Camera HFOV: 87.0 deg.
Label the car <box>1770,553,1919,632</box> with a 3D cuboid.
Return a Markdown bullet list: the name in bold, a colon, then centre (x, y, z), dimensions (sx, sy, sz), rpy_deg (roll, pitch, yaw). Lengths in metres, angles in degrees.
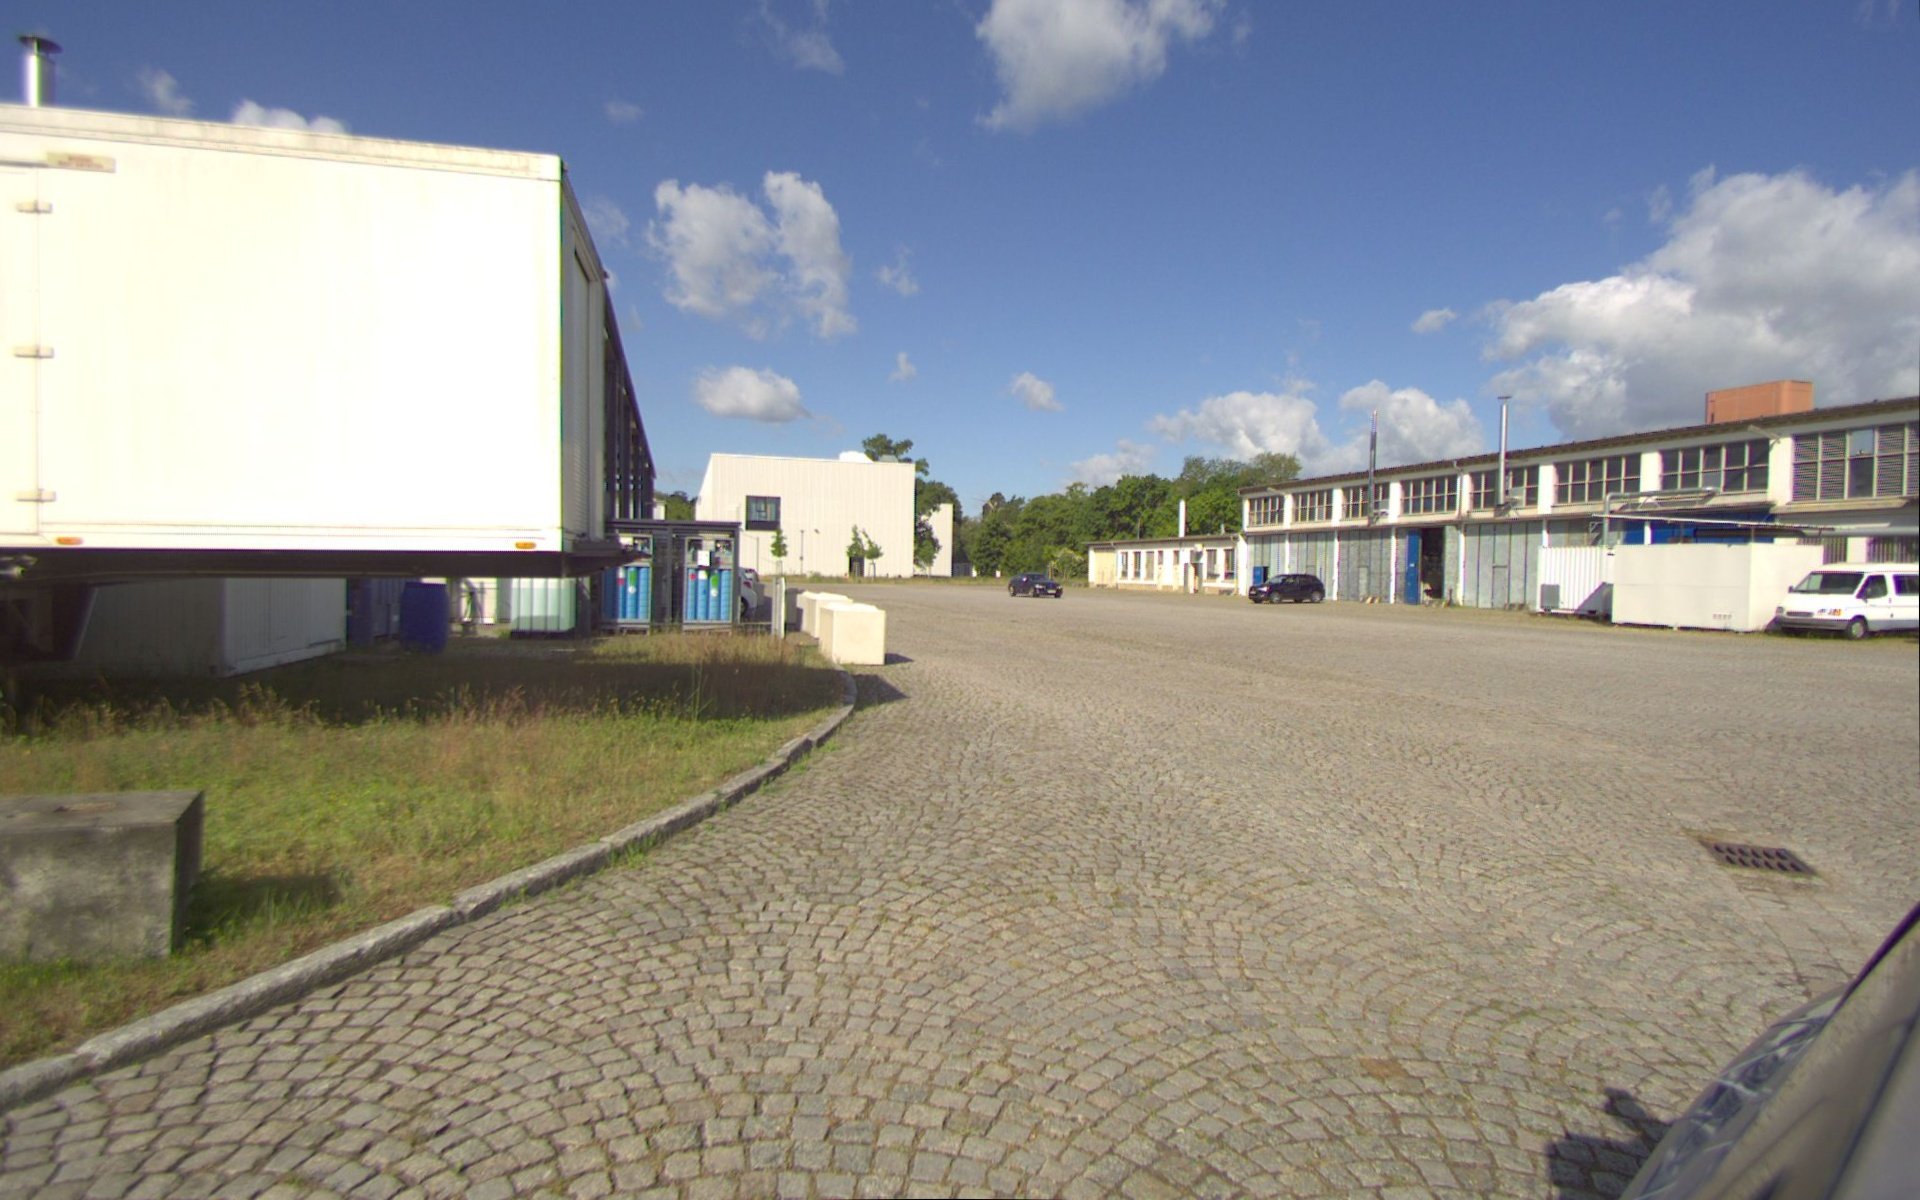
- **car**: centre (25.679, -0.231, 28.459), dimensions (4.704, 2.107, 2.014), rpy_deg (0, 1, -13)

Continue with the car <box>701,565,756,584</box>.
- **car**: centre (-18.322, -1.992, 79.977), dimensions (4.100, 1.421, 1.745), rpy_deg (0, 1, -17)

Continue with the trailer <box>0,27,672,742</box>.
- **trailer**: centre (-7.474, -1.247, 6.538), dimensions (10.657, 3.959, 2.787), rpy_deg (1, 1, -14)

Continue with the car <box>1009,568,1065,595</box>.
- **car**: centre (4.317, -1.079, 57.376), dimensions (1.704, 1.447, 4.085), rpy_deg (0, 2, -18)

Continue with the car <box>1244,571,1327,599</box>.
- **car**: centre (17.665, -0.817, 54.930), dimensions (3.990, 1.488, 1.745), rpy_deg (0, 1, -17)

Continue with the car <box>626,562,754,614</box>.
- **car**: centre (-7.662, -0.333, 28.659), dimensions (3.400, 1.393, 1.615), rpy_deg (0, 1, -19)
